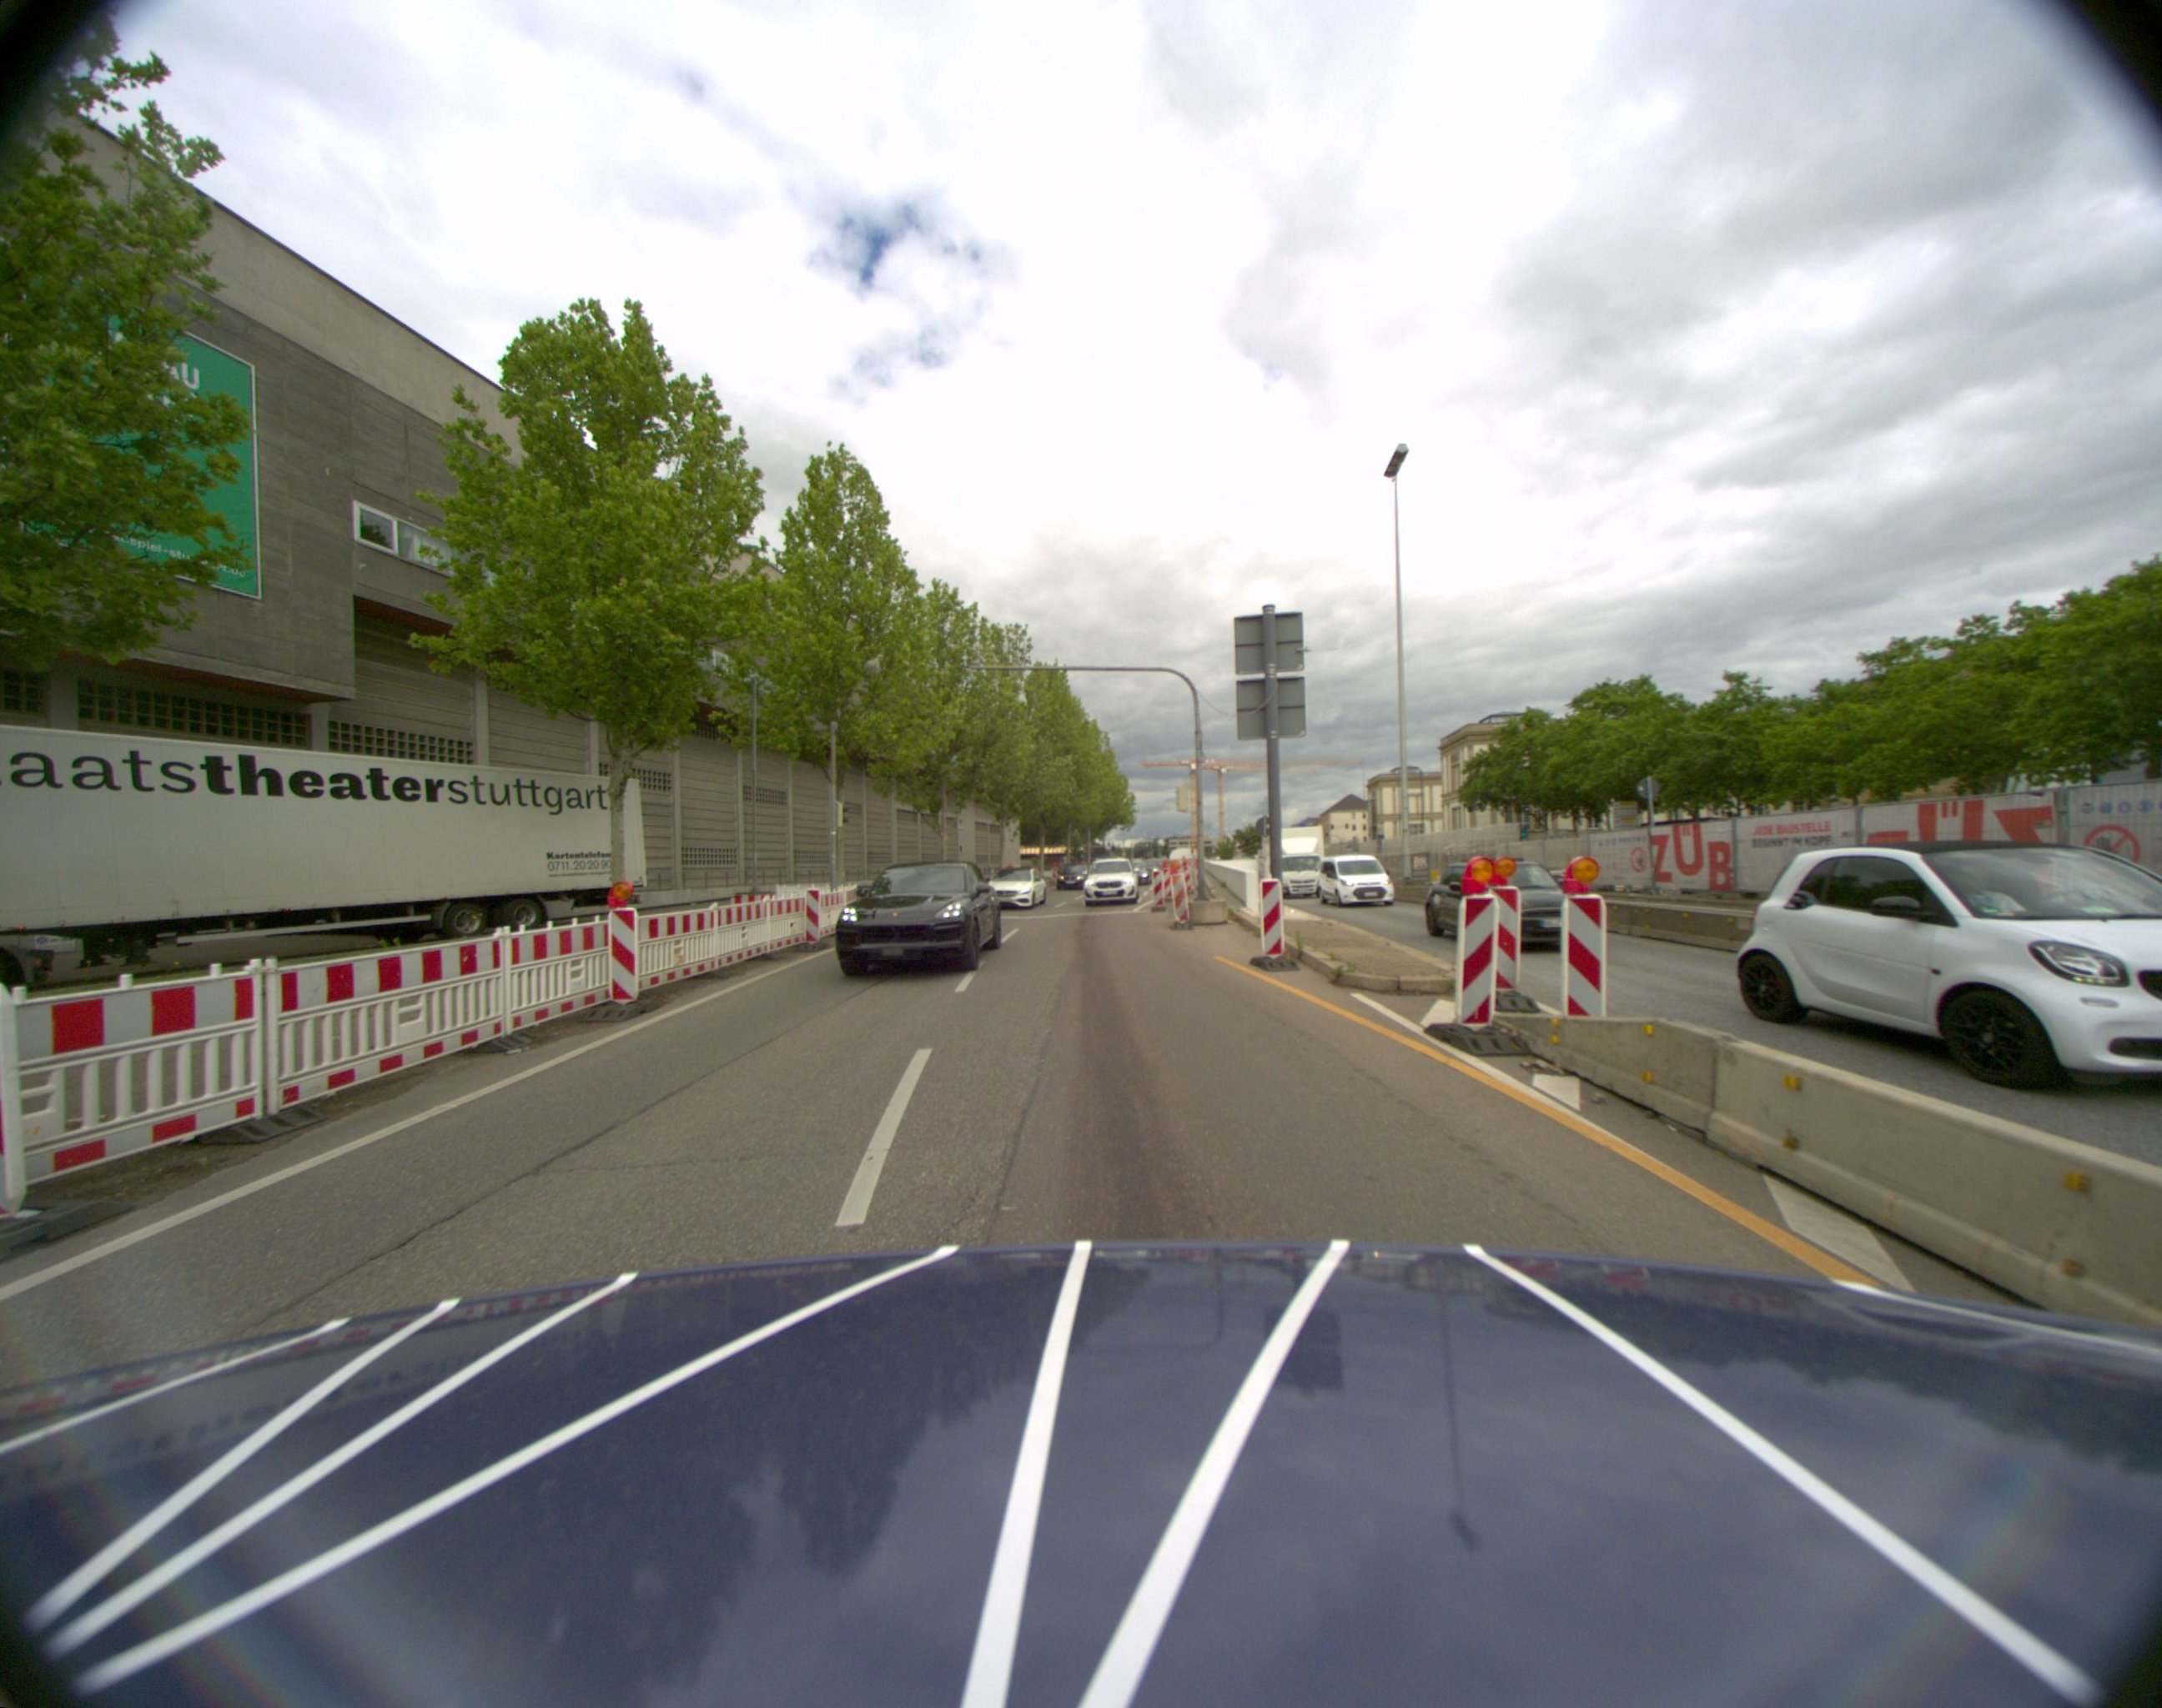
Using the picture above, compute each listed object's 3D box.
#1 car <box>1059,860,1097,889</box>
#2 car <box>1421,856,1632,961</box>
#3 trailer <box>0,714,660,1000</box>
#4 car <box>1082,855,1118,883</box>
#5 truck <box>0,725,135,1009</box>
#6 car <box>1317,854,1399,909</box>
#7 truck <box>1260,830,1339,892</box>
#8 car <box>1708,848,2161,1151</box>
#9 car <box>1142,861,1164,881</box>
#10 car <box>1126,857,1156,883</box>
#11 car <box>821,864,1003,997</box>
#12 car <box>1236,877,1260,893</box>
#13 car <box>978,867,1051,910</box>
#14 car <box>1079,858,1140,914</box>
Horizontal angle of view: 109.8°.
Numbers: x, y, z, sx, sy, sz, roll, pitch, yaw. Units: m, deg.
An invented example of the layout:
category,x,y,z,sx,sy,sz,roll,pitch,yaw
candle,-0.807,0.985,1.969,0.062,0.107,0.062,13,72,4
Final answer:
category,x,y,z,sx,sy,sz,roll,pitch,yaw
car,-0.133,1.136,43.529,1.611,1.464,3.624,-2,0,7
car,7.264,0.799,12.876,1.650,1.430,3.937,-3,0,8
trailer,-15.637,0.053,15.262,3.152,4.077,13.988,-4,0,17
car,1.473,1.089,57.422,1.951,1.914,4.402,-2,0,11
truck,-17.574,0.290,9.335,3.136,4.060,6.581,-3,0,17
car,9.708,0.887,26.975,1.841,1.751,4.483,-2,0,8
truck,10.755,0.311,38.148,2.976,2.757,7.260,-2,0,10
car,6.449,0.774,5.447,1.633,1.545,3.004,-3,0,8
car,5.874,1.358,61.546,1.611,1.464,3.624,-2,0,7
car,3.740,0.989,47.164,1.611,1.464,3.624,-2,0,7
car,-2.480,1.046,12.272,1.908,1.648,4.201,-3,0,0
car,18.048,3.363,82.436,1.872,1.499,4.001,-4,0,4
car,-2.334,1.209,27.767,1.933,1.368,4.002,0,0,6
car,1.085,1.028,26.551,1.855,1.618,4.908,-3,0,4
